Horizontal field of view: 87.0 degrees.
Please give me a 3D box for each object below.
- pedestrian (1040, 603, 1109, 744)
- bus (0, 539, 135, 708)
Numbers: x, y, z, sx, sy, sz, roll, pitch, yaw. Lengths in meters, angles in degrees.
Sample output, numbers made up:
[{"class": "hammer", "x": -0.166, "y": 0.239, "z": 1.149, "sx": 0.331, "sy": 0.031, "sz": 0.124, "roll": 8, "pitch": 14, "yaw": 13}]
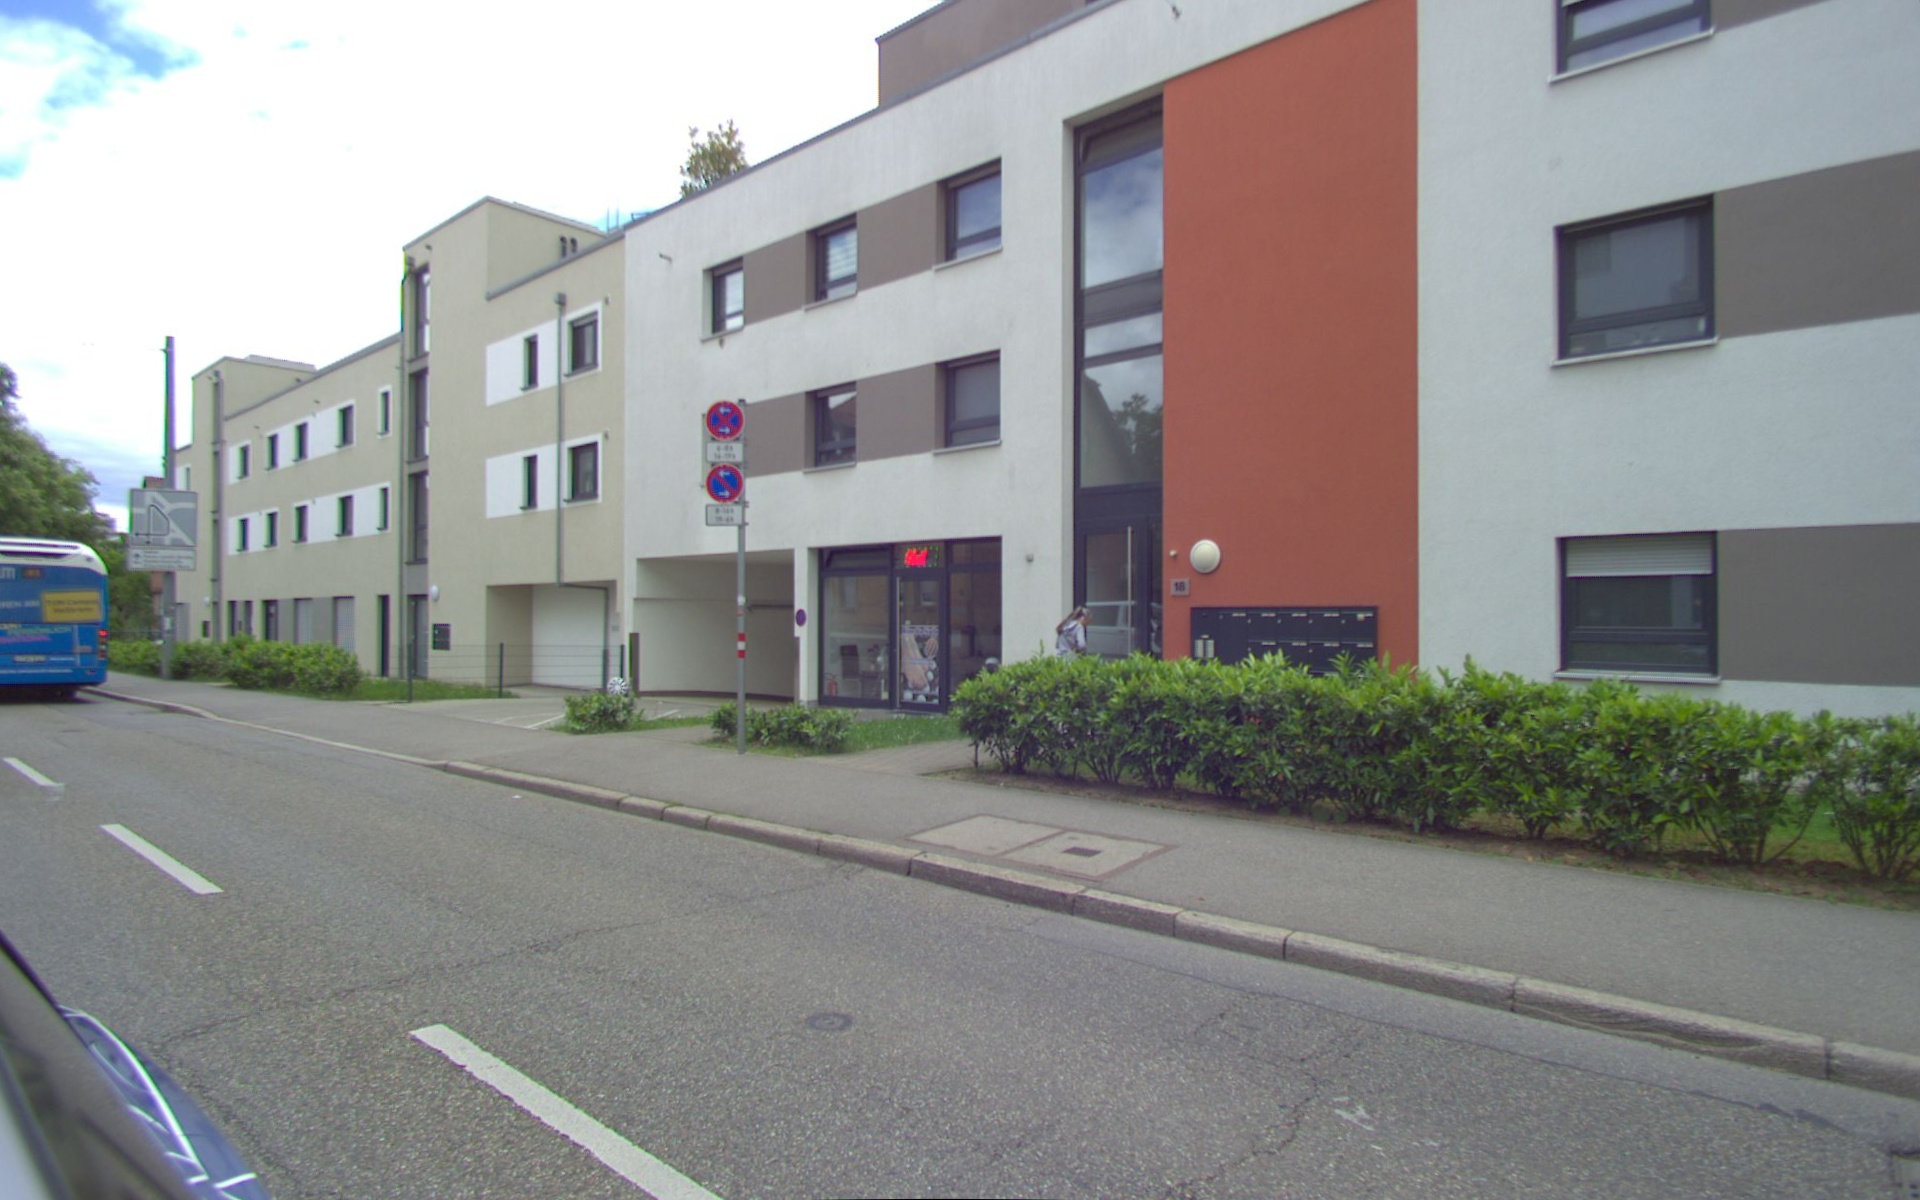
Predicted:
[{"class": "pedestrian", "x": 1.396, "y": 0.874, "z": 12.342, "sx": 0.640, "sy": 1.655, "sz": 0.513, "roll": -2, "pitch": -2, "yaw": 40}, {"class": "bus", "x": -22.900, "y": 0.615, "z": 24.141, "sx": 12.001, "sy": 3.299, "sz": 2.912, "roll": -2, "pitch": -3, "yaw": 41}]
